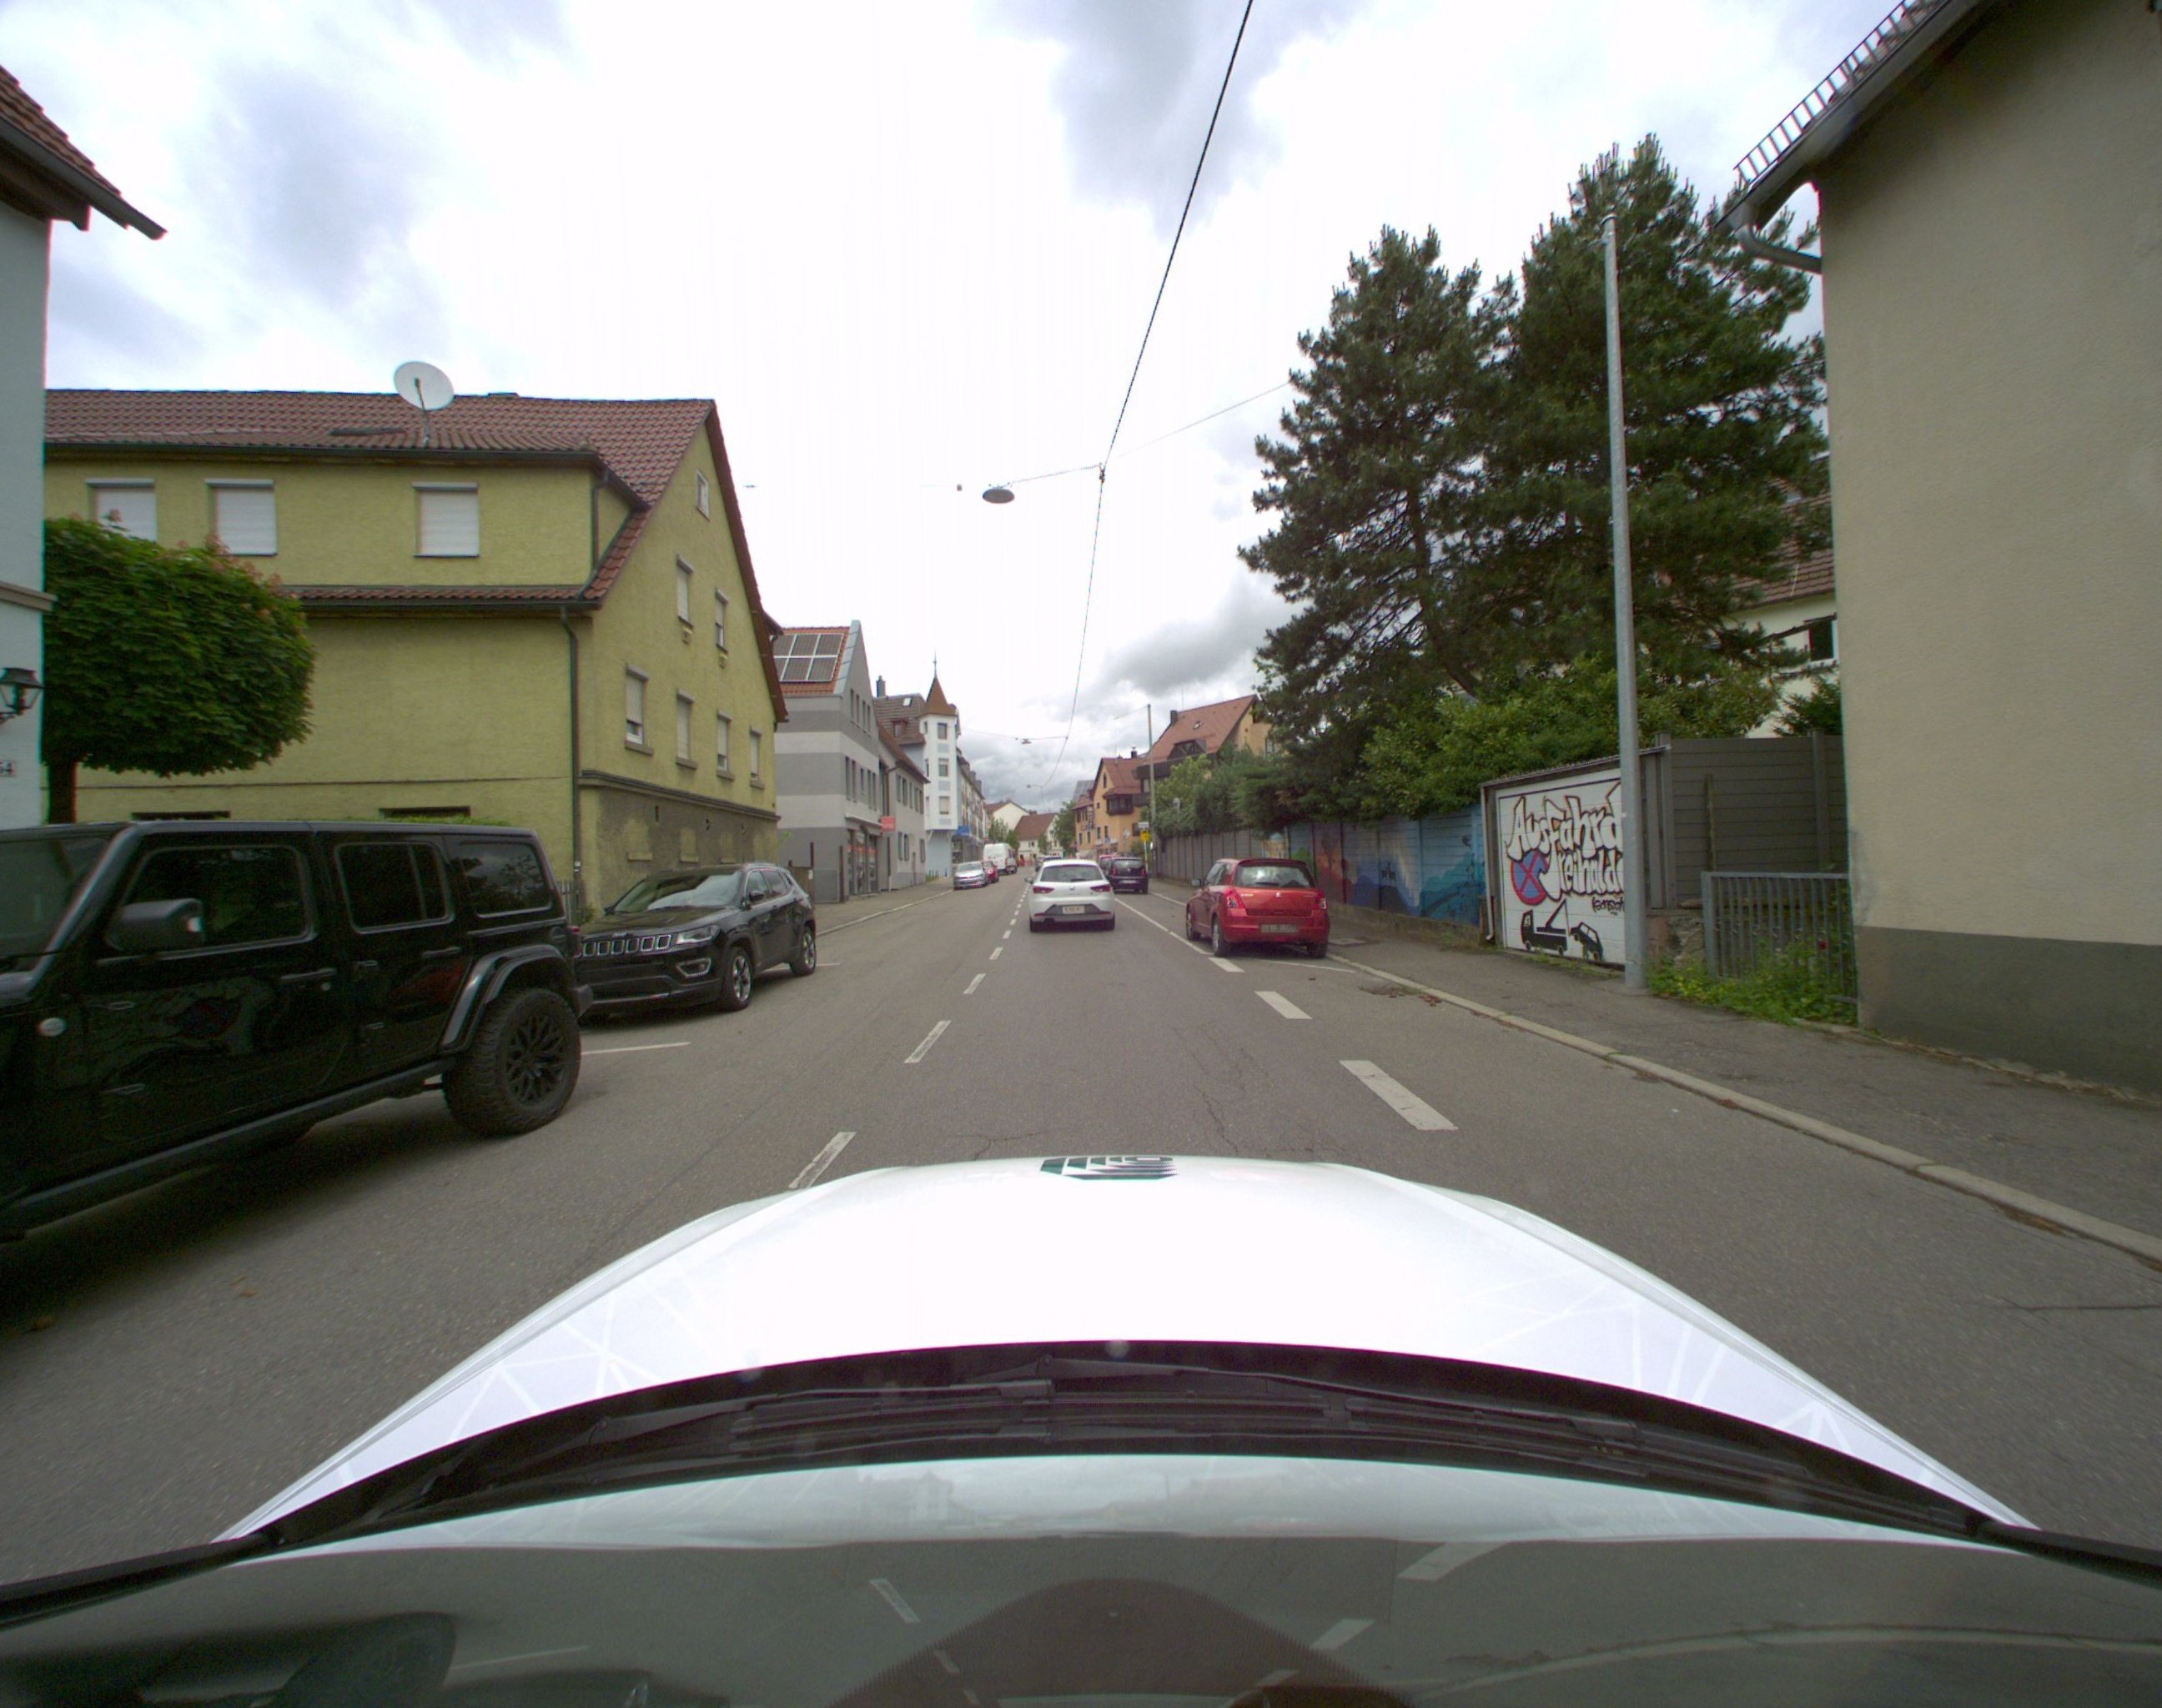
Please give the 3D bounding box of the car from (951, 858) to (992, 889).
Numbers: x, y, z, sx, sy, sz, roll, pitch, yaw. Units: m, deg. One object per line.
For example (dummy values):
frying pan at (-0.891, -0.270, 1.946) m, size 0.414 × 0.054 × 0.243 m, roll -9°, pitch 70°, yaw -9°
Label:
car at (-6.064, 1.071, 45.356) m, size 1.795 × 1.479 × 4.046 m, roll -5°, pitch 0°, yaw -3°

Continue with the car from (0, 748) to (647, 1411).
car at (-4.303, 0.746, 3.673) m, size 1.987 × 2.013 × 4.670 m, roll -5°, pitch 0°, yaw 1°

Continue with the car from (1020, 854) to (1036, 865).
car at (-8.624, 0.845, 132.916) m, size 1.784 × 1.701 × 4.009 m, roll -2°, pitch 0°, yaw 8°

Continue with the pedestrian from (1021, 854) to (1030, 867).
pedestrian at (-8.520, 0.962, 125.093) m, size 1.225 × 2.013 × 1.174 m, roll -2°, pitch 0°, yaw -2°

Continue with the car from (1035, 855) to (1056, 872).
car at (-3.323, 0.871, 75.018) m, size 1.755 × 1.452 × 3.994 m, roll -2°, pitch 0°, yaw -4°

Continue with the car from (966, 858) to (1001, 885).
car at (-6.077, 1.044, 50.982) m, size 1.795 × 1.479 × 4.046 m, roll -5°, pitch 0°, yaw -3°

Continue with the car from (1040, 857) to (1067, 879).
car at (-1.963, 0.999, 58.053) m, size 1.754 × 1.452 × 3.996 m, roll -2°, pitch 0°, yaw -2°

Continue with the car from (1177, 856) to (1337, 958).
car at (2.776, 0.769, 13.724) m, size 1.753 × 1.452 × 3.998 m, roll 0°, pitch 0°, yaw -1°

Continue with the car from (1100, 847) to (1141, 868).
car at (3.071, 0.257, 63.696) m, size 2.812 × 1.512 × 1.701 m, roll -1°, pitch 1°, yaw -14°

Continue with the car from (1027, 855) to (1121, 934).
car at (-0.205, 0.785, 17.720) m, size 1.754 × 1.452 × 3.996 m, roll -2°, pitch 0°, yaw -2°

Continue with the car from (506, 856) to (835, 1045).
car at (-4.697, 0.953, 10.248) m, size 1.892 × 1.619 × 4.521 m, roll -4°, pitch 1°, yaw -3°

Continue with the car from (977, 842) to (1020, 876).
car at (-6.818, 0.365, 67.972) m, size 2.139 × 2.687 × 5.560 m, roll -1°, pitch 0°, yaw 10°

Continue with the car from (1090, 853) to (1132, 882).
car at (1.591, 0.701, 44.421) m, size 1.756 × 1.452 × 3.992 m, roll -2°, pitch 0°, yaw -5°

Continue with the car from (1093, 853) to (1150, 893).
car at (1.599, 0.744, 33.498) m, size 1.756 × 1.452 × 3.992 m, roll -2°, pitch 0°, yaw -5°
